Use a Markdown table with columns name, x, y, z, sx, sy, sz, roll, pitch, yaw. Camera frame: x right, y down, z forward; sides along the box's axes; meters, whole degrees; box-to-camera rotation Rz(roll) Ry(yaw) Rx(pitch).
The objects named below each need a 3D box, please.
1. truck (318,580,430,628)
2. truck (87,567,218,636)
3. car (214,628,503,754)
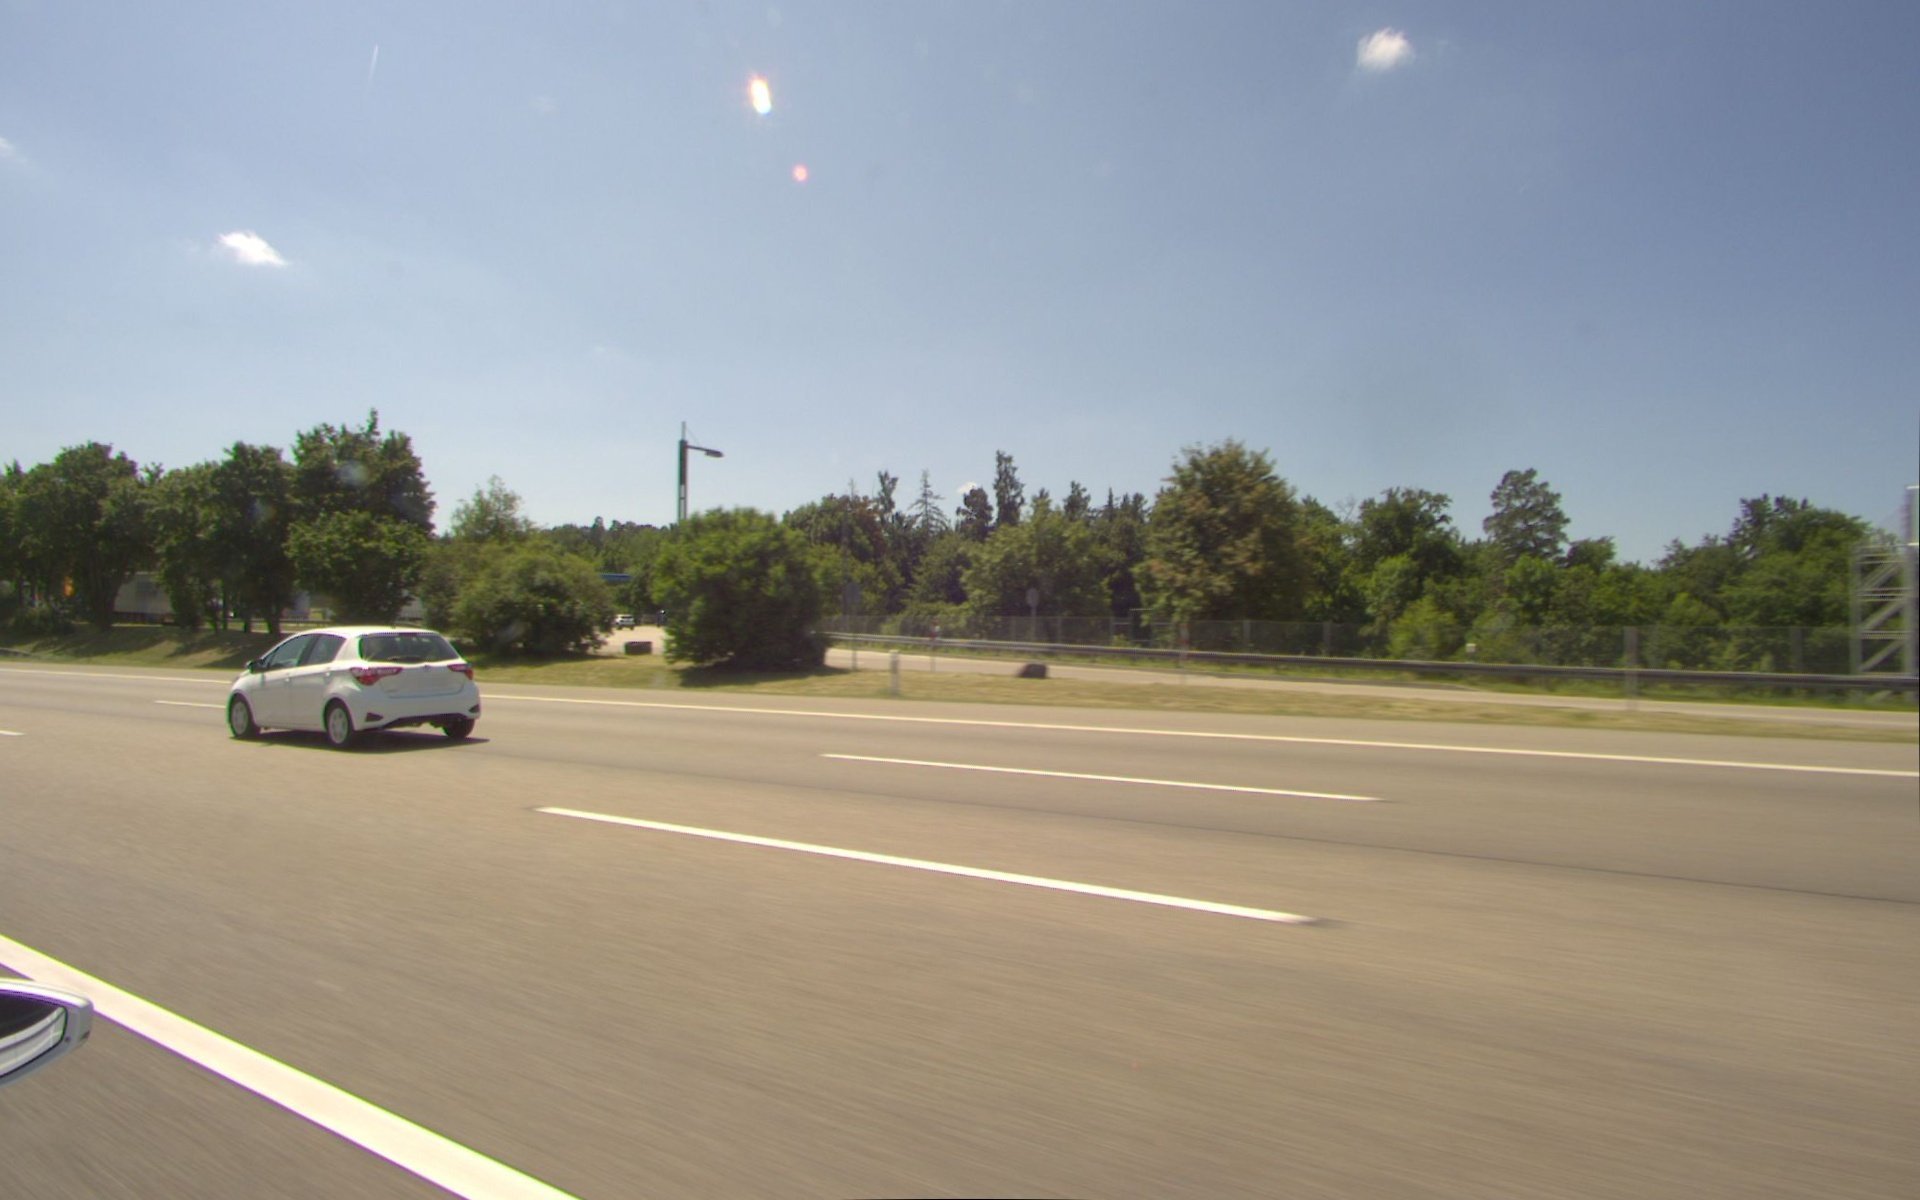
| name | x | y | z | sx | sy | sz | roll | pitch | yaw |
| --- | --- | --- | --- | --- | --- | --- | --- | --- | --- |
| truck | -46.958 | 0.416 | 80.077 | 10.402 | 3.610 | 3.321 | -1 | -1 | 32 |
| truck | -61.799 | 0.266 | 76.442 | 14.488 | 4.891 | 3.320 | -1 | -1 | 32 |
| car | -8.119 | 1.102 | 13.388 | 4.315 | 1.452 | 1.662 | -1 | -2 | 34 |
